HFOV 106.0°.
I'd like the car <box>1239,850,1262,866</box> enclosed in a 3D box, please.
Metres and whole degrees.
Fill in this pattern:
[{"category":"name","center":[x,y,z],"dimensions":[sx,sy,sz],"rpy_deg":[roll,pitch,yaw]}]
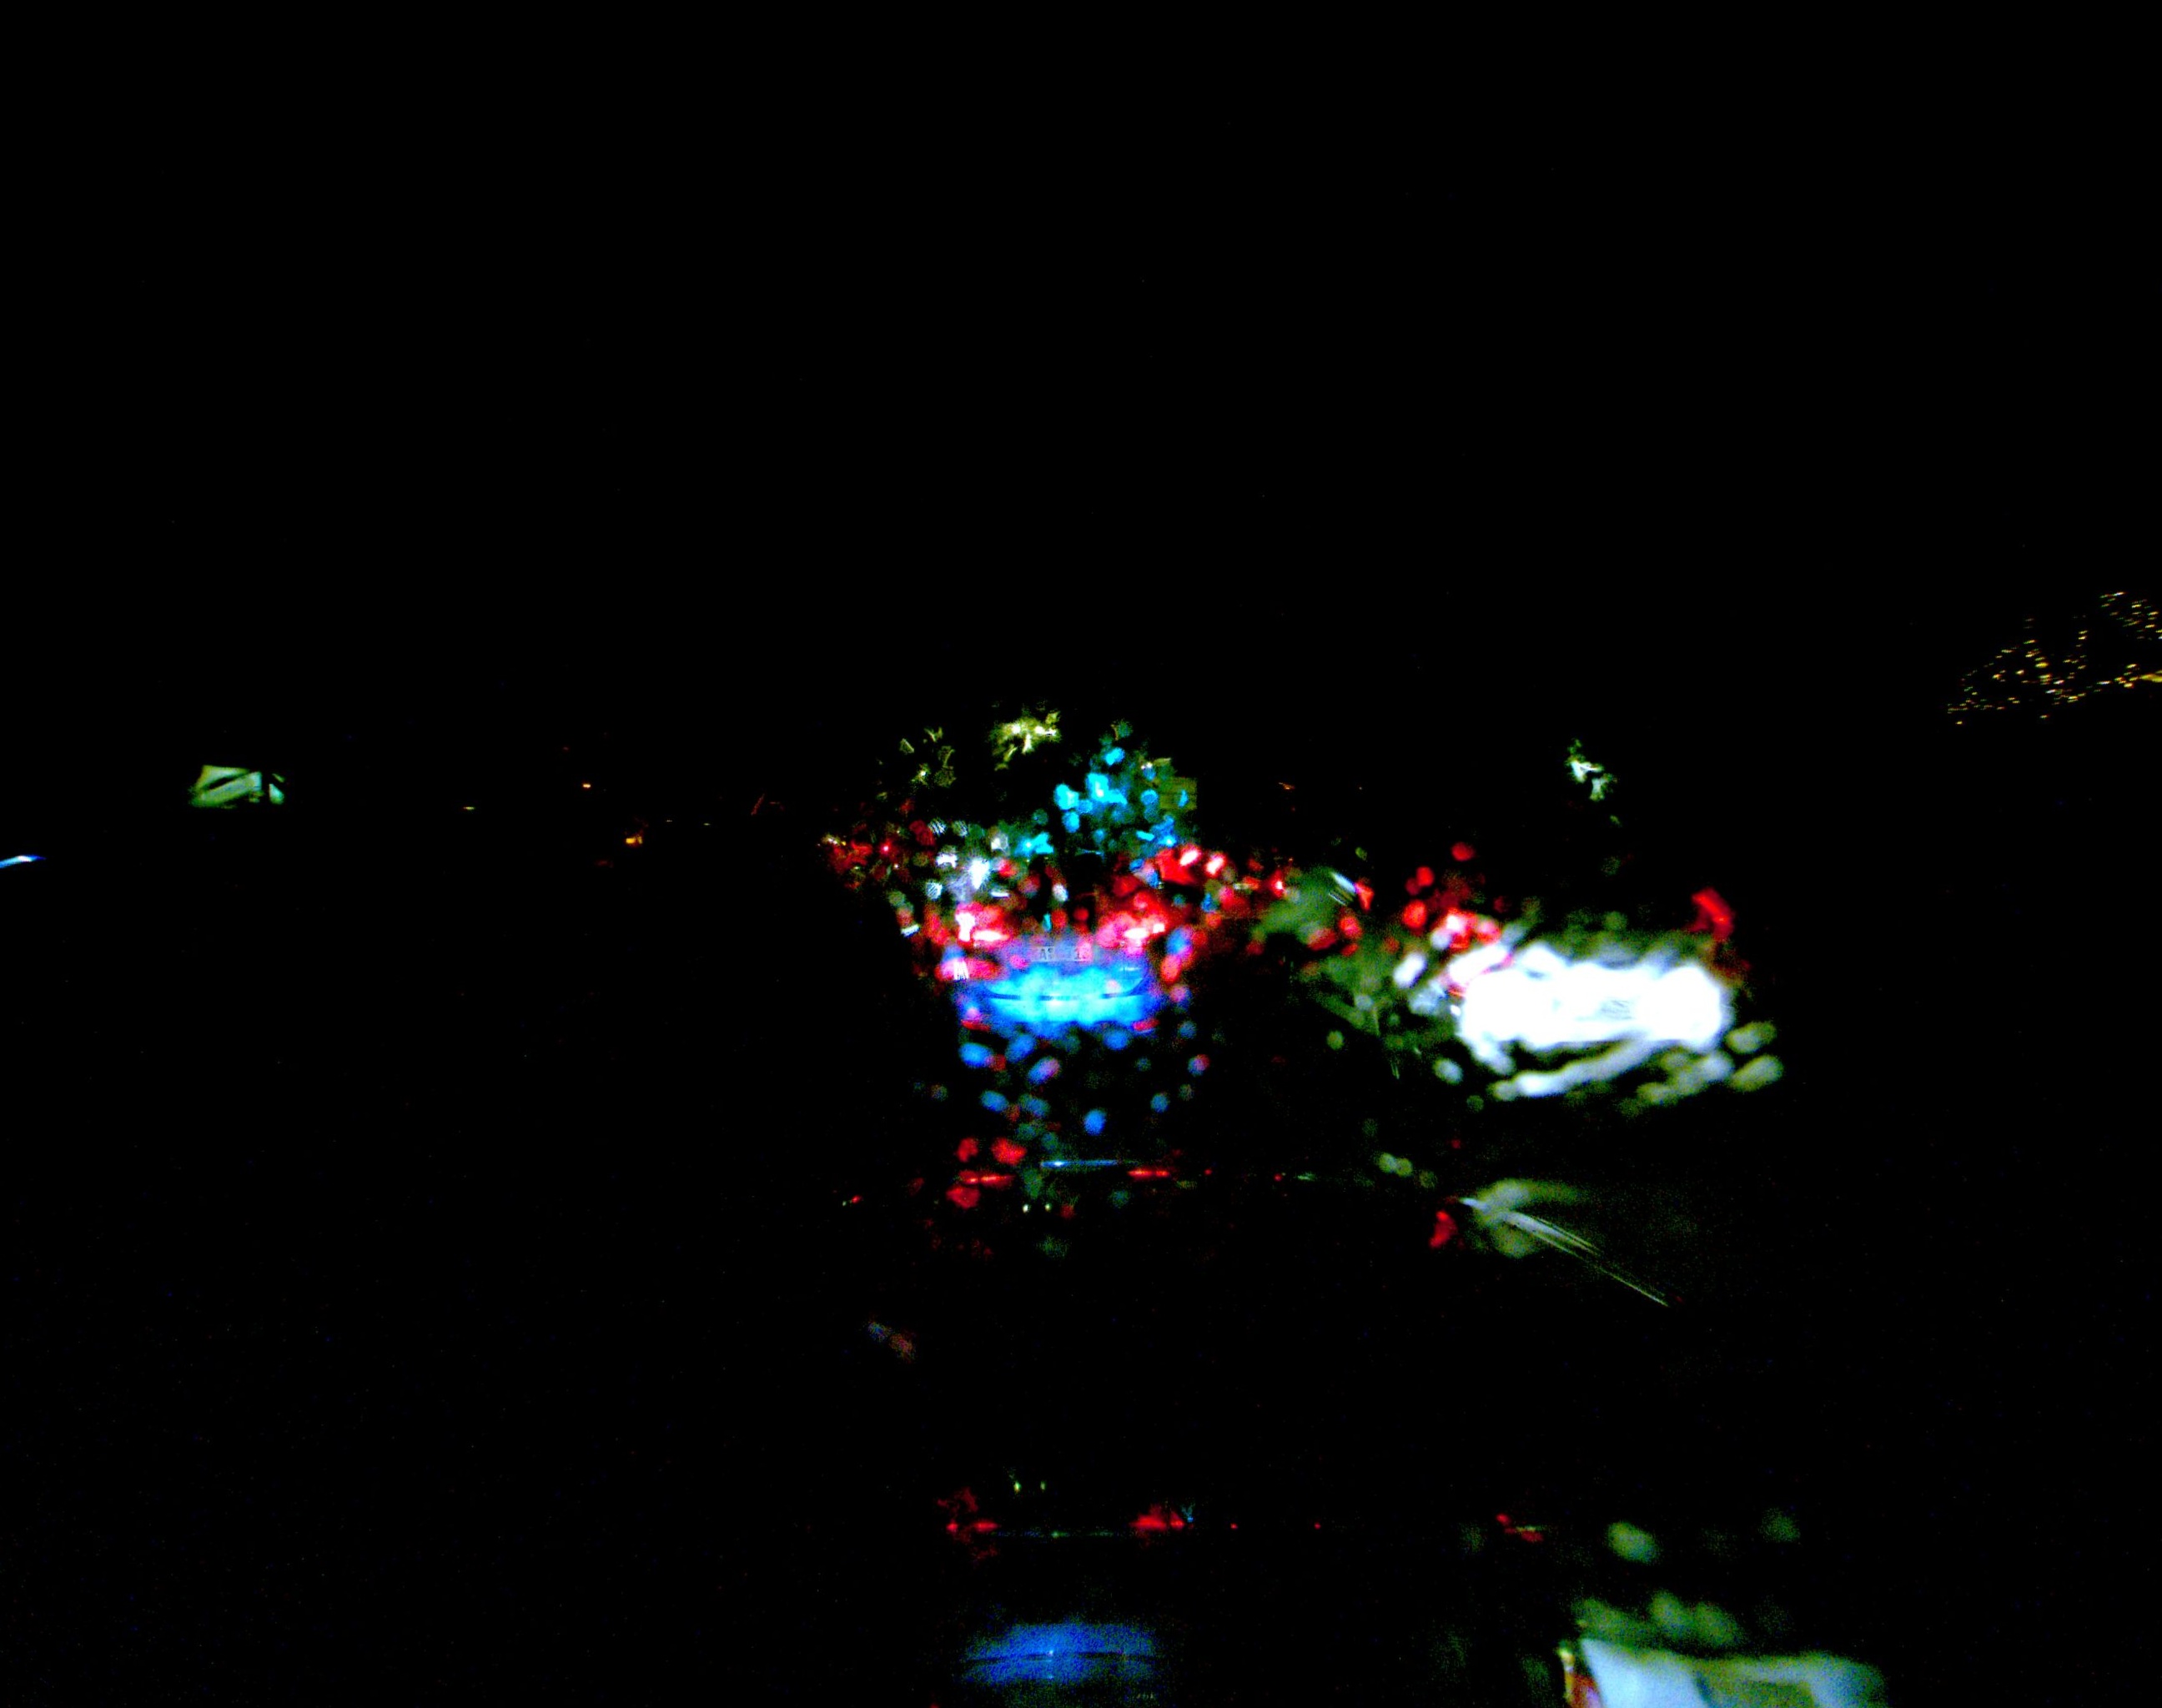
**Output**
[{"category":"car","center":[19.047,0.502,91.515],"dimensions":[1.857,1.646,3.965],"rpy_deg":[-3,-1,2]}]

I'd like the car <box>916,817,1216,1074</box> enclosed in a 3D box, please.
[{"category":"car","center":[-0.058,0.636,7.682],"dimensions":[2.007,1.717,4.452],"rpy_deg":[0,-1,1]}]

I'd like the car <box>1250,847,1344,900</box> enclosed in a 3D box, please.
[{"category":"car","center":[6.525,0.556,25.055],"dimensions":[1.779,1.442,4.237],"rpy_deg":[-2,0,0]}]

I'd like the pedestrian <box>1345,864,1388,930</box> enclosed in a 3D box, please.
[{"category":"pedestrian","center":[7.533,1.114,21.508],"dimensions":[0.867,1.702,0.615],"rpy_deg":[0,-1,-20]}]

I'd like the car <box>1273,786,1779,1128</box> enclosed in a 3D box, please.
[{"category":"car","center":[2.936,0.587,6.623],"dimensions":[1.845,1.865,4.342],"rpy_deg":[0,-1,2]}]

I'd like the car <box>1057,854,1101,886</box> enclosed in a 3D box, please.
[{"category":"car","center":[-0.178,0.871,45.933],"dimensions":[1.992,1.732,3.989],"rpy_deg":[0,-1,-8]}]

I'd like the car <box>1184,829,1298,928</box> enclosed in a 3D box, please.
[{"category":"car","center":[3.564,0.528,18.818],"dimensions":[1.961,2.047,4.001],"rpy_deg":[0,-1,2]}]

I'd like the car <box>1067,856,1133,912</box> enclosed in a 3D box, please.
[{"category":"car","center":[0.641,0.930,26.585],"dimensions":[1.986,1.684,4.001],"rpy_deg":[0,-1,2]}]

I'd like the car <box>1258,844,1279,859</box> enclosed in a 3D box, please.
[{"category":"car","center":[24.933,-0.322,108.571],"dimensions":[1.986,2.014,4.001],"rpy_deg":[0,-1,1]}]

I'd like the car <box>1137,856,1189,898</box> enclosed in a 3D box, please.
[{"category":"car","center":[3.491,0.956,35.226],"dimensions":[1.986,1.718,4.001],"rpy_deg":[0,-1,2]}]

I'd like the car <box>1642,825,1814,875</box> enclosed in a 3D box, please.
[{"category":"car","center":[20.278,-0.098,25.729],"dimensions":[3.901,1.487,1.773],"rpy_deg":[0,-1,20]}]

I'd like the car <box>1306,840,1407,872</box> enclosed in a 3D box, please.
[{"category":"car","center":[13.188,0.126,38.976],"dimensions":[4.286,1.460,1.863],"rpy_deg":[-1,-1,30]}]

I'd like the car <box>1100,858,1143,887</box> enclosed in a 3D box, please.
[{"category":"car","center":[2.316,1.064,47.979],"dimensions":[1.990,1.670,3.992],"rpy_deg":[0,-1,-5]}]

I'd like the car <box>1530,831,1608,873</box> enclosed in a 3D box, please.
[{"category":"car","center":[18.495,-0.028,31.078],"dimensions":[1.706,1.483,4.730],"rpy_deg":[0,-1,20]}]

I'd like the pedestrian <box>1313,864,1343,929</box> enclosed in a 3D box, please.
[{"category":"pedestrian","center":[6.584,1.118,21.716],"dimensions":[0.621,1.702,0.541],"rpy_deg":[0,-1,-1]}]

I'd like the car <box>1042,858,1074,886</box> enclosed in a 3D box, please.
[{"category":"car","center":[-1.636,1.229,56.672],"dimensions":[1.990,1.824,3.993],"rpy_deg":[0,-1,-5]}]

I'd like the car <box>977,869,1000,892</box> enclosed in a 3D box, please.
[{"category":"car","center":[-8.867,2.482,77.660],"dimensions":[2.013,1.887,4.439],"rpy_deg":[1,1,-8]}]
